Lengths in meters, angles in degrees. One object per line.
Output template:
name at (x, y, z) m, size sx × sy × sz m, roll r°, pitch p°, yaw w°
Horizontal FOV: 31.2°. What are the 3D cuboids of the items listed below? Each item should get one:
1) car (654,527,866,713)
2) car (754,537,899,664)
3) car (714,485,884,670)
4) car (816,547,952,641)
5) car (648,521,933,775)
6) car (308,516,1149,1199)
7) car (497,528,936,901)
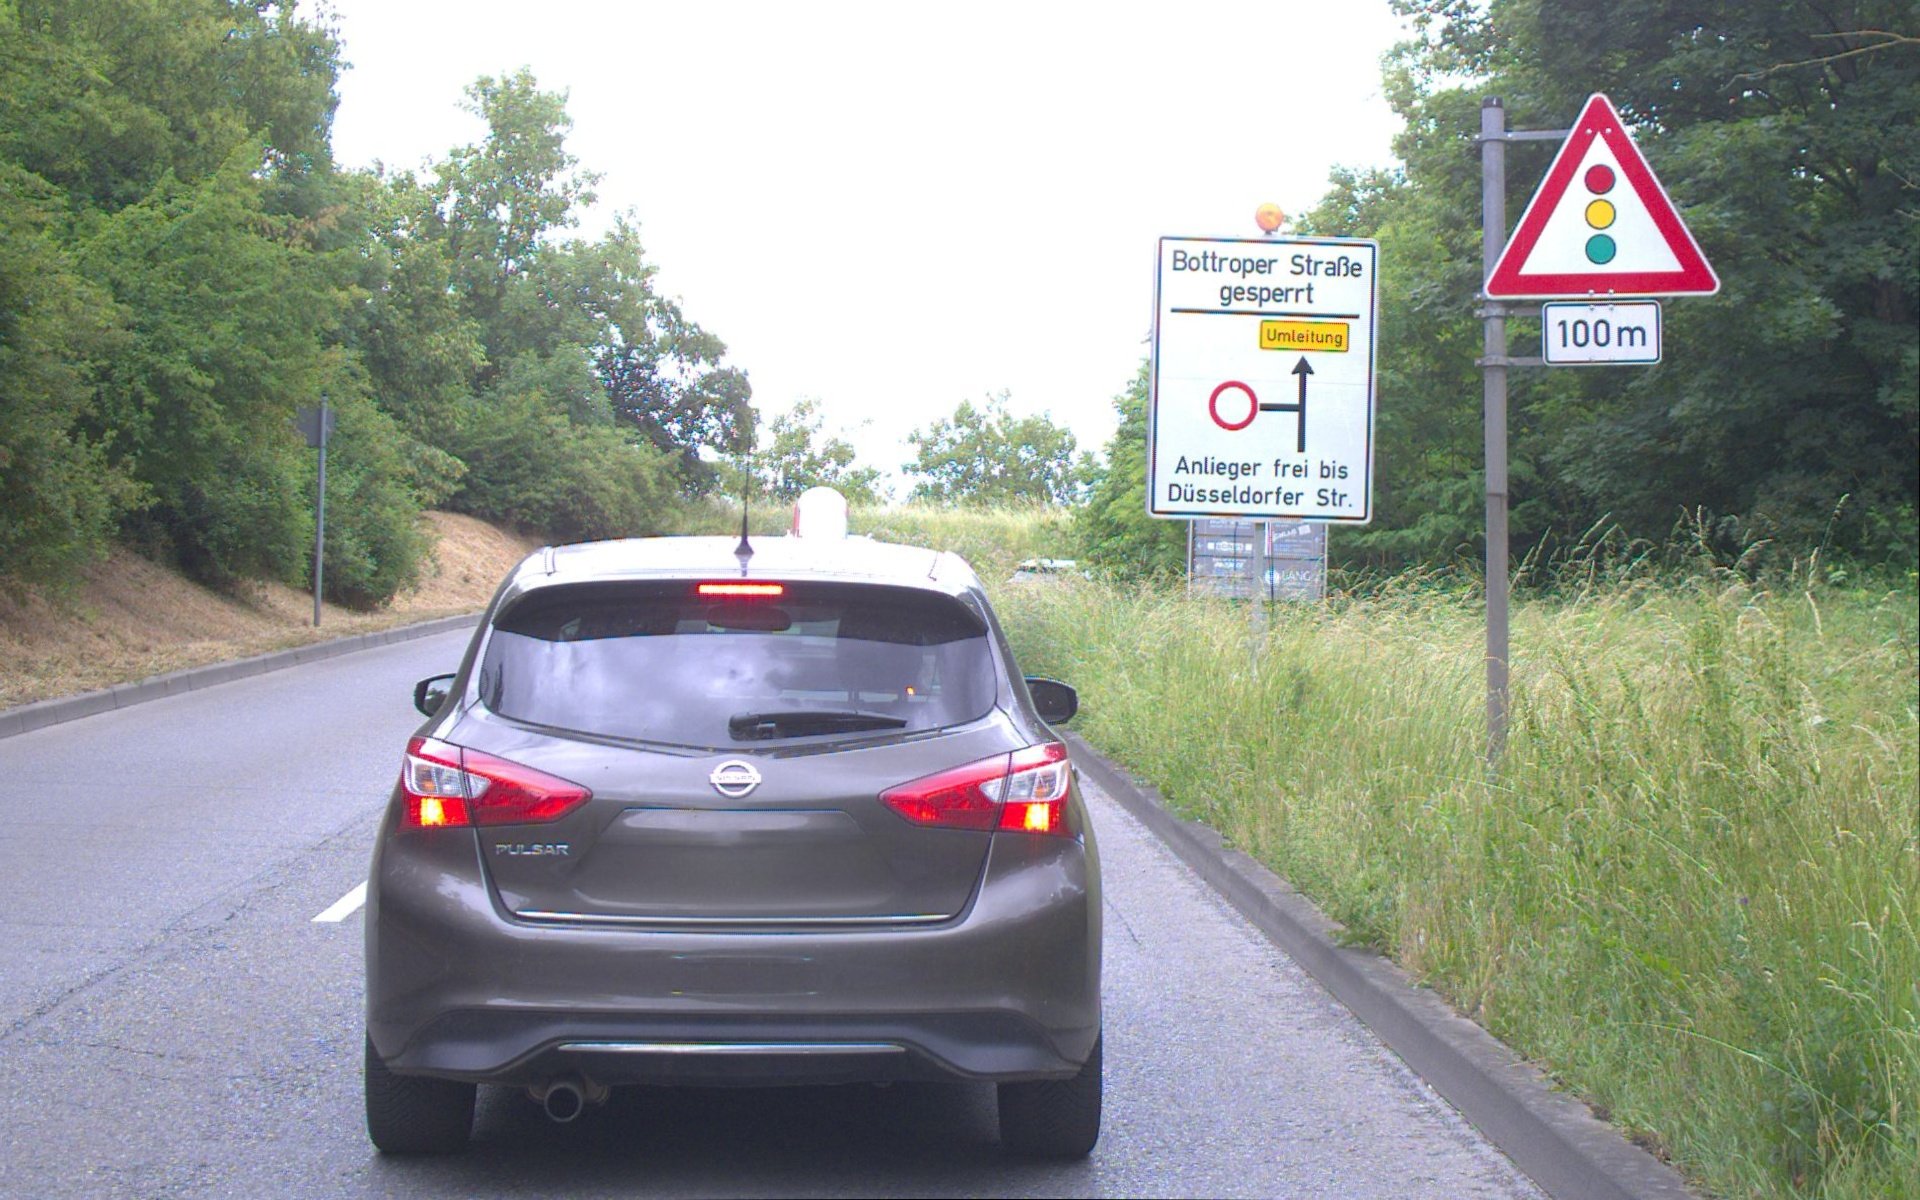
car at (-1.715, 0.137, 30.493) m, size 1.736 × 1.551 × 3.544 m, roll 0°, pitch 1°, yaw -1°
car at (-1.673, -0.024, 43.015) m, size 1.736 × 1.521 × 3.544 m, roll 0°, pitch 1°, yaw -2°
car at (-1.719, -0.266, 37.684) m, size 1.736 × 1.928 × 3.544 m, roll 0°, pitch 1°, yaw -1°
car at (-1.245, -0.131, 57.850) m, size 1.736 × 1.521 × 3.640 m, roll 0°, pitch 1°, yaw 8°
car at (-1.070, 0.262, 22.835) m, size 1.736 × 1.551 × 3.544 m, roll 0°, pitch 1°, yaw -1°
car at (-0.600, 0.568, 9.316) m, size 1.830 × 1.551 × 3.500 m, roll 1°, pitch 1°, yaw -3°
car at (-1.049, 0.444, 16.190) m, size 1.830 × 1.551 × 3.625 m, roll 0°, pitch 1°, yaw -1°
